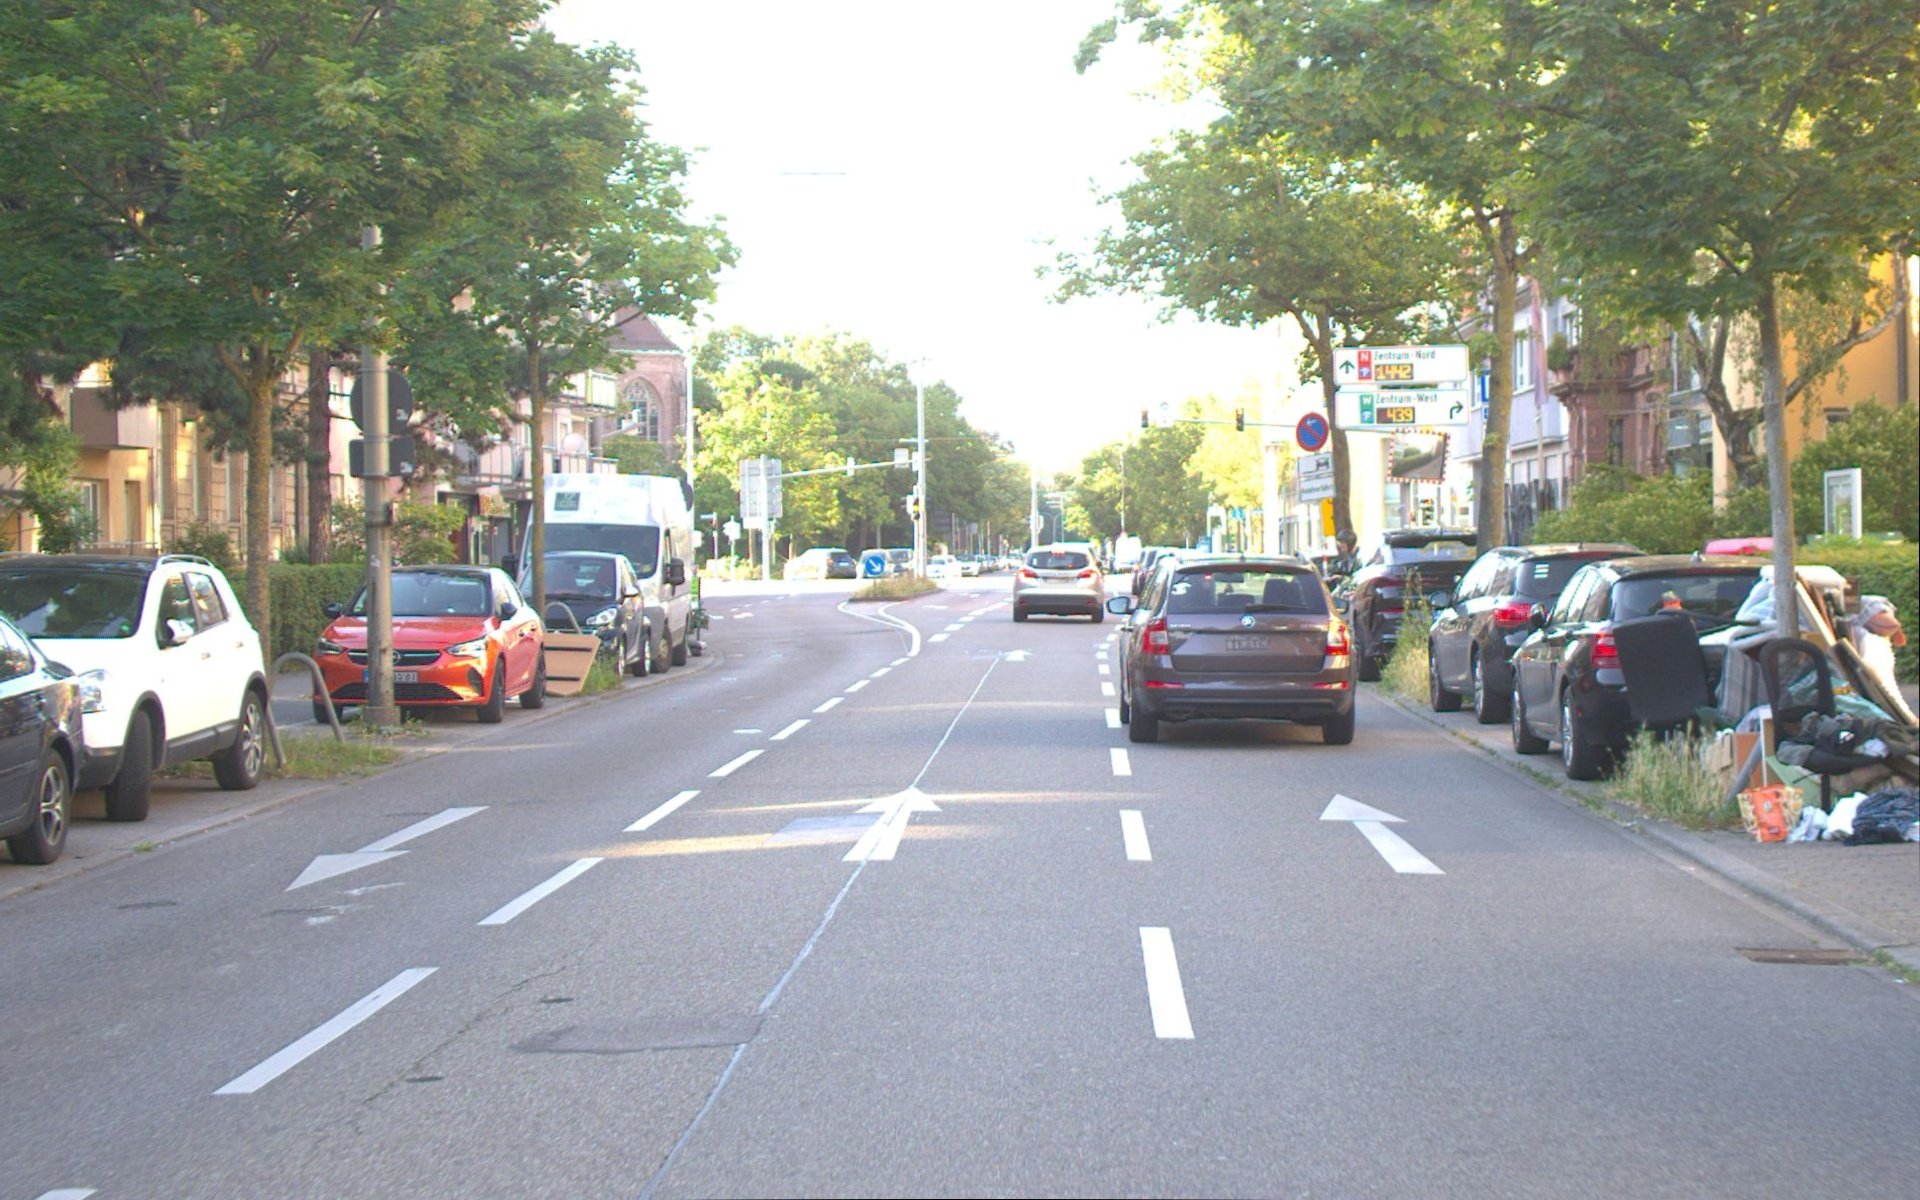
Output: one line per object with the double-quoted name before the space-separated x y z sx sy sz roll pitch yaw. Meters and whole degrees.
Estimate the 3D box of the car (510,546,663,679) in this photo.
"car" -4.583 0.127 42.439 1.404 1.543 2.761 1 1 3

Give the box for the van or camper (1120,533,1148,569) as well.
"van or camper" 12.948 -3.634 255.628 1.994 2.631 5.350 -1 1 4

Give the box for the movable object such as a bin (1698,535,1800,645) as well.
"movable object such as a bin" 10.589 -0.139 46.097 1.253 1.436 0.994 -1 1 17

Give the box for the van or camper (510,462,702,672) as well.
"van or camper" -4.795 -0.472 47.391 2.035 2.654 6.016 1 1 -1

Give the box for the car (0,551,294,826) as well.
"car" -5.643 0.486 22.093 1.776 1.583 4.185 0 1 2

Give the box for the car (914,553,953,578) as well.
"car" -1.332 -1.783 176.738 1.780 1.232 4.000 -1 1 3

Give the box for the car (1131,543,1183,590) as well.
"car" 6.286 -1.084 109.871 1.585 1.442 3.647 1 1 2

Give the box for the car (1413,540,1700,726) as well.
"car" 5.162 0.228 30.265 1.716 1.467 4.432 -2 1 0

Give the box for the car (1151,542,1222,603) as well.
"car" 5.670 -0.700 86.453 1.650 1.479 4.239 0 1 2

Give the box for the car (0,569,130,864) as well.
"car" -5.726 0.593 17.099 1.993 1.443 4.458 -1 1 1

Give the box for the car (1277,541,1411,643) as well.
"car" 6.134 -0.161 55.376 1.856 1.507 4.834 -2 1 4

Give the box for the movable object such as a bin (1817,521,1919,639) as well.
"movable object such as a bin" 12.226 -0.276 46.010 1.154 1.550 0.995 -1 1 -7

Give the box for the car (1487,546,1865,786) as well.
"car" 4.821 0.380 23.753 1.770 1.444 4.484 -2 1 2

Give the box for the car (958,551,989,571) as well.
"car" 0.895 -2.538 220.572 1.780 1.232 4.000 -1 1 3

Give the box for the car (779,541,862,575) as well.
"car" -6.189 -1.873 152.437 3.342 1.489 1.622 0 1 30

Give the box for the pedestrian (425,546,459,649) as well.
"pedestrian" -8.352 -0.049 55.454 0.480 1.646 0.725 -1 1 -4

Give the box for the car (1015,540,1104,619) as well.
"car" 1.998 -0.427 68.335 1.707 1.504 4.309 0 1 2

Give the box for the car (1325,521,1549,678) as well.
"car" 5.329 -0.045 38.970 1.948 1.649 4.796 -1 1 1

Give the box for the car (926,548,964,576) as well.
"car" -0.793 -2.018 183.291 1.780 1.459 4.000 -1 1 3

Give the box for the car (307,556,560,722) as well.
"car" -4.985 0.327 33.021 1.717 1.447 3.923 0 1 2

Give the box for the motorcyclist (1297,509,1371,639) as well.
"motorcyclist" 5.181 -0.353 47.699 0.736 1.772 1.088 -1 0 -9

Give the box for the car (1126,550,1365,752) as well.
"car" 2.185 0.343 27.210 1.707 1.452 4.158 0 1 2

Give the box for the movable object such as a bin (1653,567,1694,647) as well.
"movable object such as a bin" 9.560 0.097 46.048 0.494 1.055 0.547 -1 1 14
